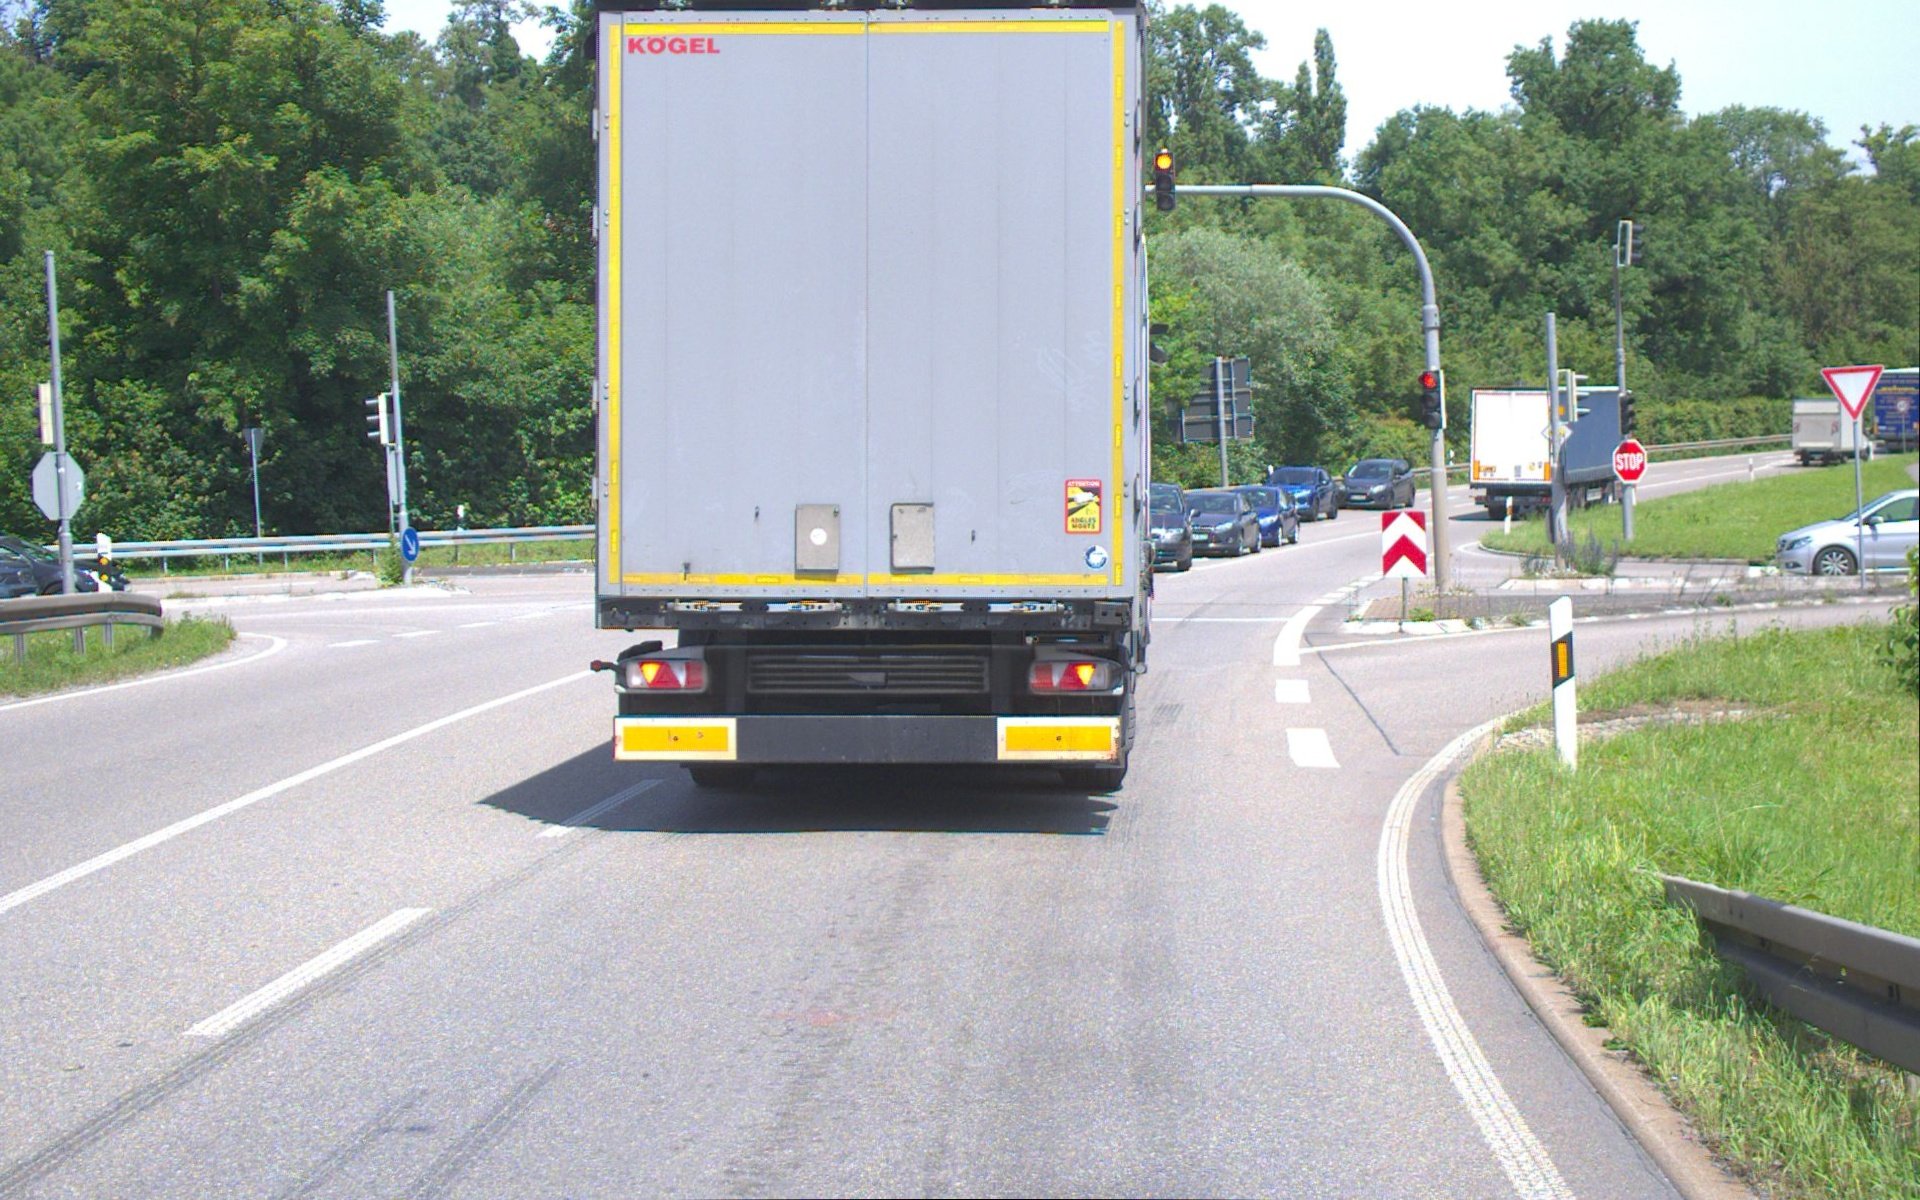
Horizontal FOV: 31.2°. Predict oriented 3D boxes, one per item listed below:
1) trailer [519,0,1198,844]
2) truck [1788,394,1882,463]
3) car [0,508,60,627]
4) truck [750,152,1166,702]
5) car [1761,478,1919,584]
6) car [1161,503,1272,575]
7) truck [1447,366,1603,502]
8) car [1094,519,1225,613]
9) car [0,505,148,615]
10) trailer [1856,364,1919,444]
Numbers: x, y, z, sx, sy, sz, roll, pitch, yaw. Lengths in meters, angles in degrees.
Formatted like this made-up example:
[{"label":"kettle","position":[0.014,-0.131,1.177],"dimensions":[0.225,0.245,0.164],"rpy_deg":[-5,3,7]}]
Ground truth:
[{"label":"trailer","position":[-0.182,-1.134,21.827],"dimensions":[3.052,4.019,12.559],"rpy_deg":[0,2,3]},{"label":"truck","position":[39.446,-7.690,154.899],"dimensions":[2.859,2.938,7.095],"rpy_deg":[1,2,25]},{"label":"car","position":[-16.089,-0.488,52.184],"dimensions":[4.236,1.764,1.999],"rpy_deg":[0,1,13]},{"label":"truck","position":[0.130,-1.382,28.606],"dimensions":[3.038,4.019,6.629],"rpy_deg":[0,2,3]},{"label":"car","position":[15.892,-1.147,58.026],"dimensions":[4.429,1.712,1.999],"rpy_deg":[1,0,8]},{"label":"car","position":[5.762,-1.344,76.837],"dimensions":[1.994,1.485,4.256],"rpy_deg":[1,0,11]},{"label":"truck","position":[17.851,-5.260,107.859],"dimensions":[3.182,4.014,11.737],"rpy_deg":[0,3,18]},{"label":"car","position":[3.987,-0.636,67.961],"dimensions":[1.994,1.779,4.940],"rpy_deg":[1,0,10]},{"label":"car","position":[-15.716,-0.651,56.299],"dimensions":[4.236,1.764,1.999],"rpy_deg":[0,1,13]},{"label":"trailer","position":[46.642,-9.594,169.416],"dimensions":[3.256,3.672,9.239],"rpy_deg":[1,2,25]}]
